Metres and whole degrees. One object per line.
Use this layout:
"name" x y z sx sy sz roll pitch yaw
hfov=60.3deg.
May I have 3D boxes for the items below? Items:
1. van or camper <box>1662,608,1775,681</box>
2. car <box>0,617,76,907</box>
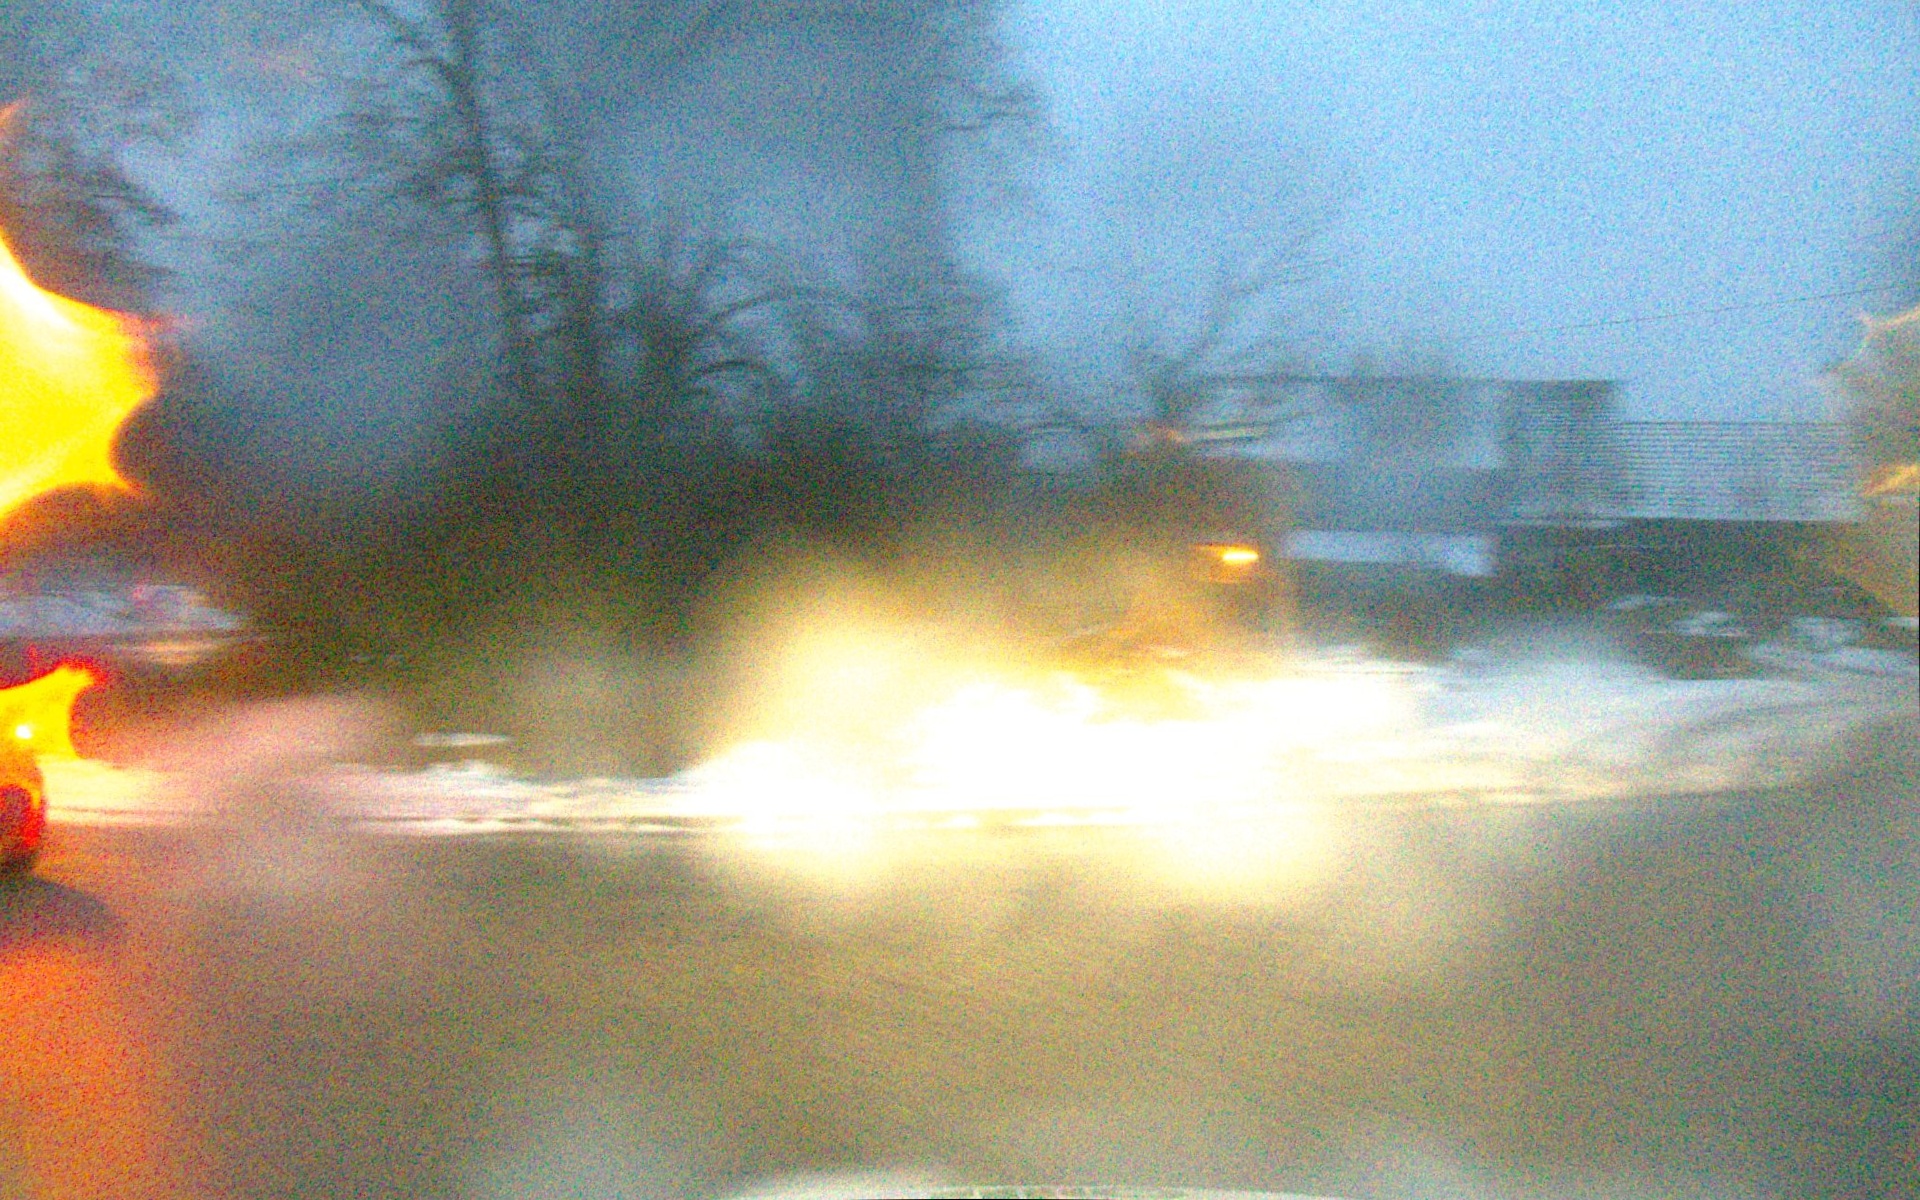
"van or camper" 12.790 0.759 28.019 1.256 1.120 3.274 2 -1 17
"car" -7.676 1.042 11.252 3.512 1.828 1.818 -1 -1 41
